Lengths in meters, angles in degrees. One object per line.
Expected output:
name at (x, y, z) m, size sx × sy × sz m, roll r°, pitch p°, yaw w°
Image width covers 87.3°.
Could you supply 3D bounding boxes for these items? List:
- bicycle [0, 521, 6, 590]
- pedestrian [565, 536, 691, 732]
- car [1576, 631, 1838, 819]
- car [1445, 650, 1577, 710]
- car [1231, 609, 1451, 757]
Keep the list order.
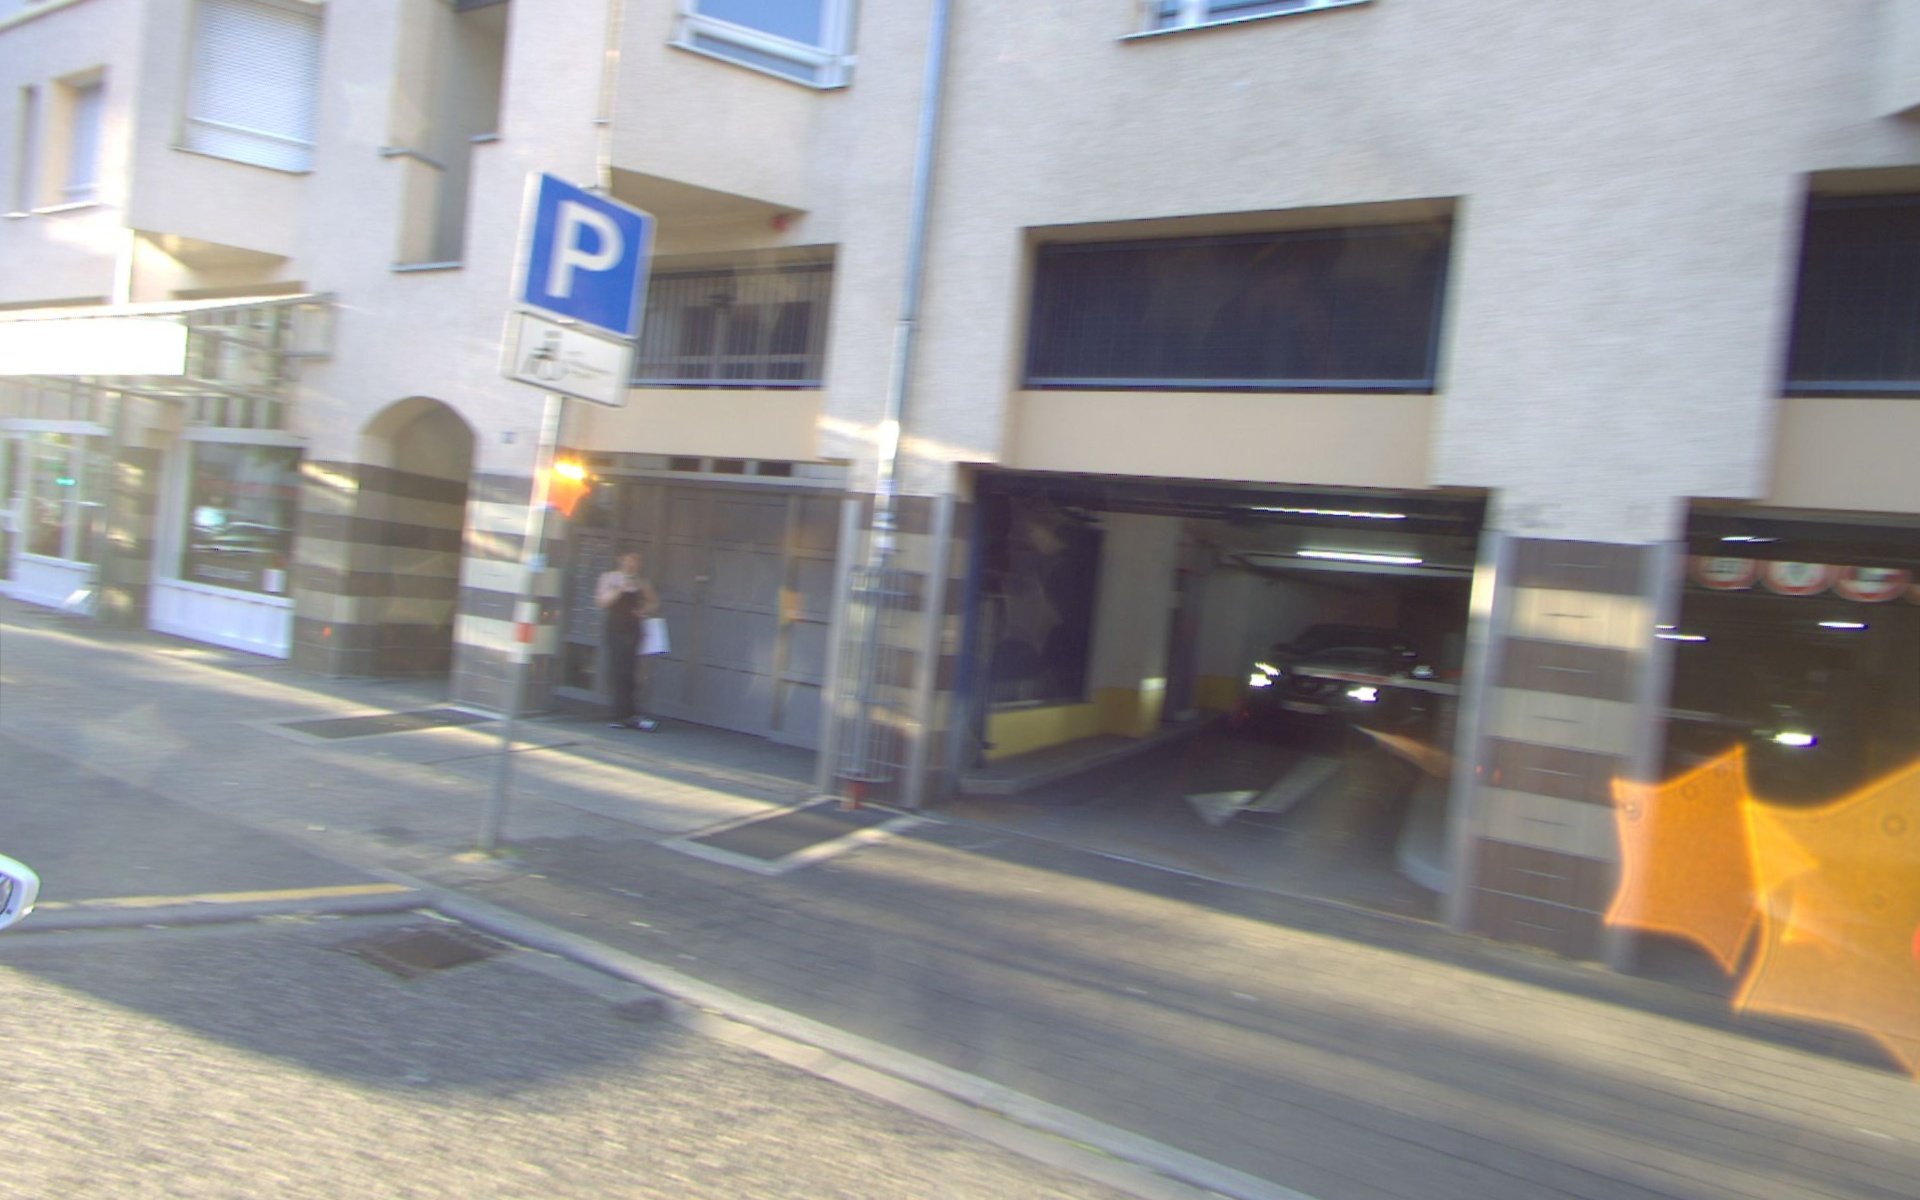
bicycle at (-8.504, -0.123, 8.112) m, size 1.944 × 1.221 × 0.559 m, roll 7°, pitch 1°, yaw 29°
pedestrian at (-2.860, 0.299, 8.664) m, size 0.771 × 1.592 × 0.528 m, roll 6°, pitch 1°, yaw -36°
car at (8.746, 1.364, 12.189) m, size 1.859 × 1.644 × 4.292 m, roll 7°, pitch 0°, yaw 30°
car at (17.708, 2.532, 32.555) m, size 1.581 × 1.409 × 3.872 m, roll 6°, pitch 1°, yaw -10°
car at (5.461, 1.092, 14.078) m, size 1.790 × 1.593 × 4.236 m, roll 6°, pitch 0°, yaw 35°
